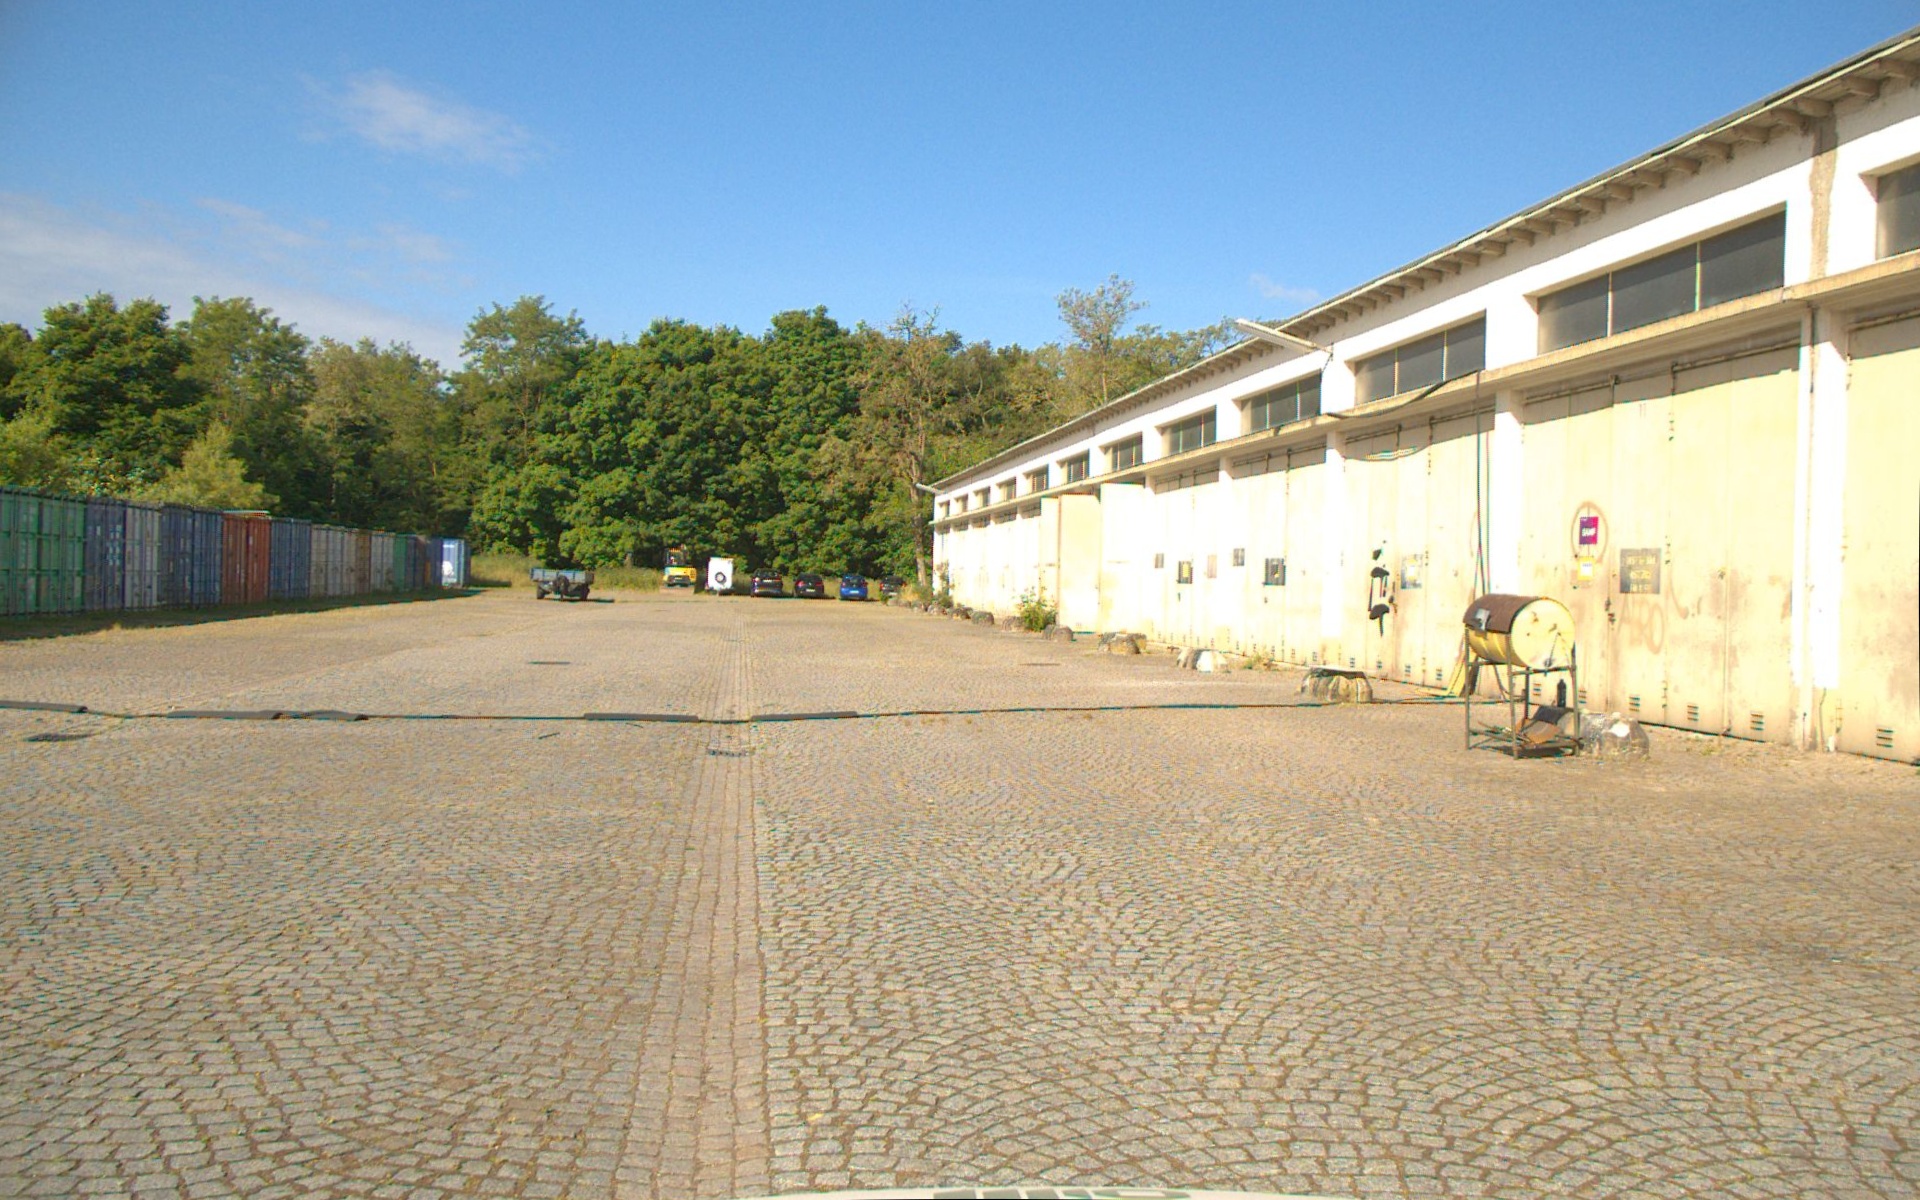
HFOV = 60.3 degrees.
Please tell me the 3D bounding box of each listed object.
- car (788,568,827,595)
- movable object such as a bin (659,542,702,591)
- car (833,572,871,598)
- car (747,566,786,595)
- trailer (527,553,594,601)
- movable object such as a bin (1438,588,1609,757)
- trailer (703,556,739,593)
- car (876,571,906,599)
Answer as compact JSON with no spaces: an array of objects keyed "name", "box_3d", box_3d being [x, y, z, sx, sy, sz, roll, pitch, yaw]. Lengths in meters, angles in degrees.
[{"name":"car","box_3d":[-8.857,-1.060,96.443,1.953,1.488,4.000,1,1,-1]},{"name":"movable object such as a bin","box_3d":[-16.387,-1.964,97.136,1.954,2.663,3.997,3,1,-4]},{"name":"car","box_3d":[-6.302,-0.908,96.816,1.953,1.445,4.000,1,1,-1]},{"name":"car","box_3d":[-11.165,-1.140,95.688,1.823,1.613,4.000,1,1,-1]},{"name":"trailer","box_3d":[-18.640,-1.069,77.355,2.361,2.048,4.168,4,0,-6]},{"name":"movable object such as a bin","box_3d":[4.779,0.594,14.107,0.809,1.355,1.276,1,1,-13]},{"name":"trailer","box_3d":[-14.033,-1.490,97.204,1.758,2.126,3.969,1,1,-4]},{"name":"car","box_3d":[-4.084,-0.914,98.381,1.651,1.591,4.000,1,1,-1]}]
